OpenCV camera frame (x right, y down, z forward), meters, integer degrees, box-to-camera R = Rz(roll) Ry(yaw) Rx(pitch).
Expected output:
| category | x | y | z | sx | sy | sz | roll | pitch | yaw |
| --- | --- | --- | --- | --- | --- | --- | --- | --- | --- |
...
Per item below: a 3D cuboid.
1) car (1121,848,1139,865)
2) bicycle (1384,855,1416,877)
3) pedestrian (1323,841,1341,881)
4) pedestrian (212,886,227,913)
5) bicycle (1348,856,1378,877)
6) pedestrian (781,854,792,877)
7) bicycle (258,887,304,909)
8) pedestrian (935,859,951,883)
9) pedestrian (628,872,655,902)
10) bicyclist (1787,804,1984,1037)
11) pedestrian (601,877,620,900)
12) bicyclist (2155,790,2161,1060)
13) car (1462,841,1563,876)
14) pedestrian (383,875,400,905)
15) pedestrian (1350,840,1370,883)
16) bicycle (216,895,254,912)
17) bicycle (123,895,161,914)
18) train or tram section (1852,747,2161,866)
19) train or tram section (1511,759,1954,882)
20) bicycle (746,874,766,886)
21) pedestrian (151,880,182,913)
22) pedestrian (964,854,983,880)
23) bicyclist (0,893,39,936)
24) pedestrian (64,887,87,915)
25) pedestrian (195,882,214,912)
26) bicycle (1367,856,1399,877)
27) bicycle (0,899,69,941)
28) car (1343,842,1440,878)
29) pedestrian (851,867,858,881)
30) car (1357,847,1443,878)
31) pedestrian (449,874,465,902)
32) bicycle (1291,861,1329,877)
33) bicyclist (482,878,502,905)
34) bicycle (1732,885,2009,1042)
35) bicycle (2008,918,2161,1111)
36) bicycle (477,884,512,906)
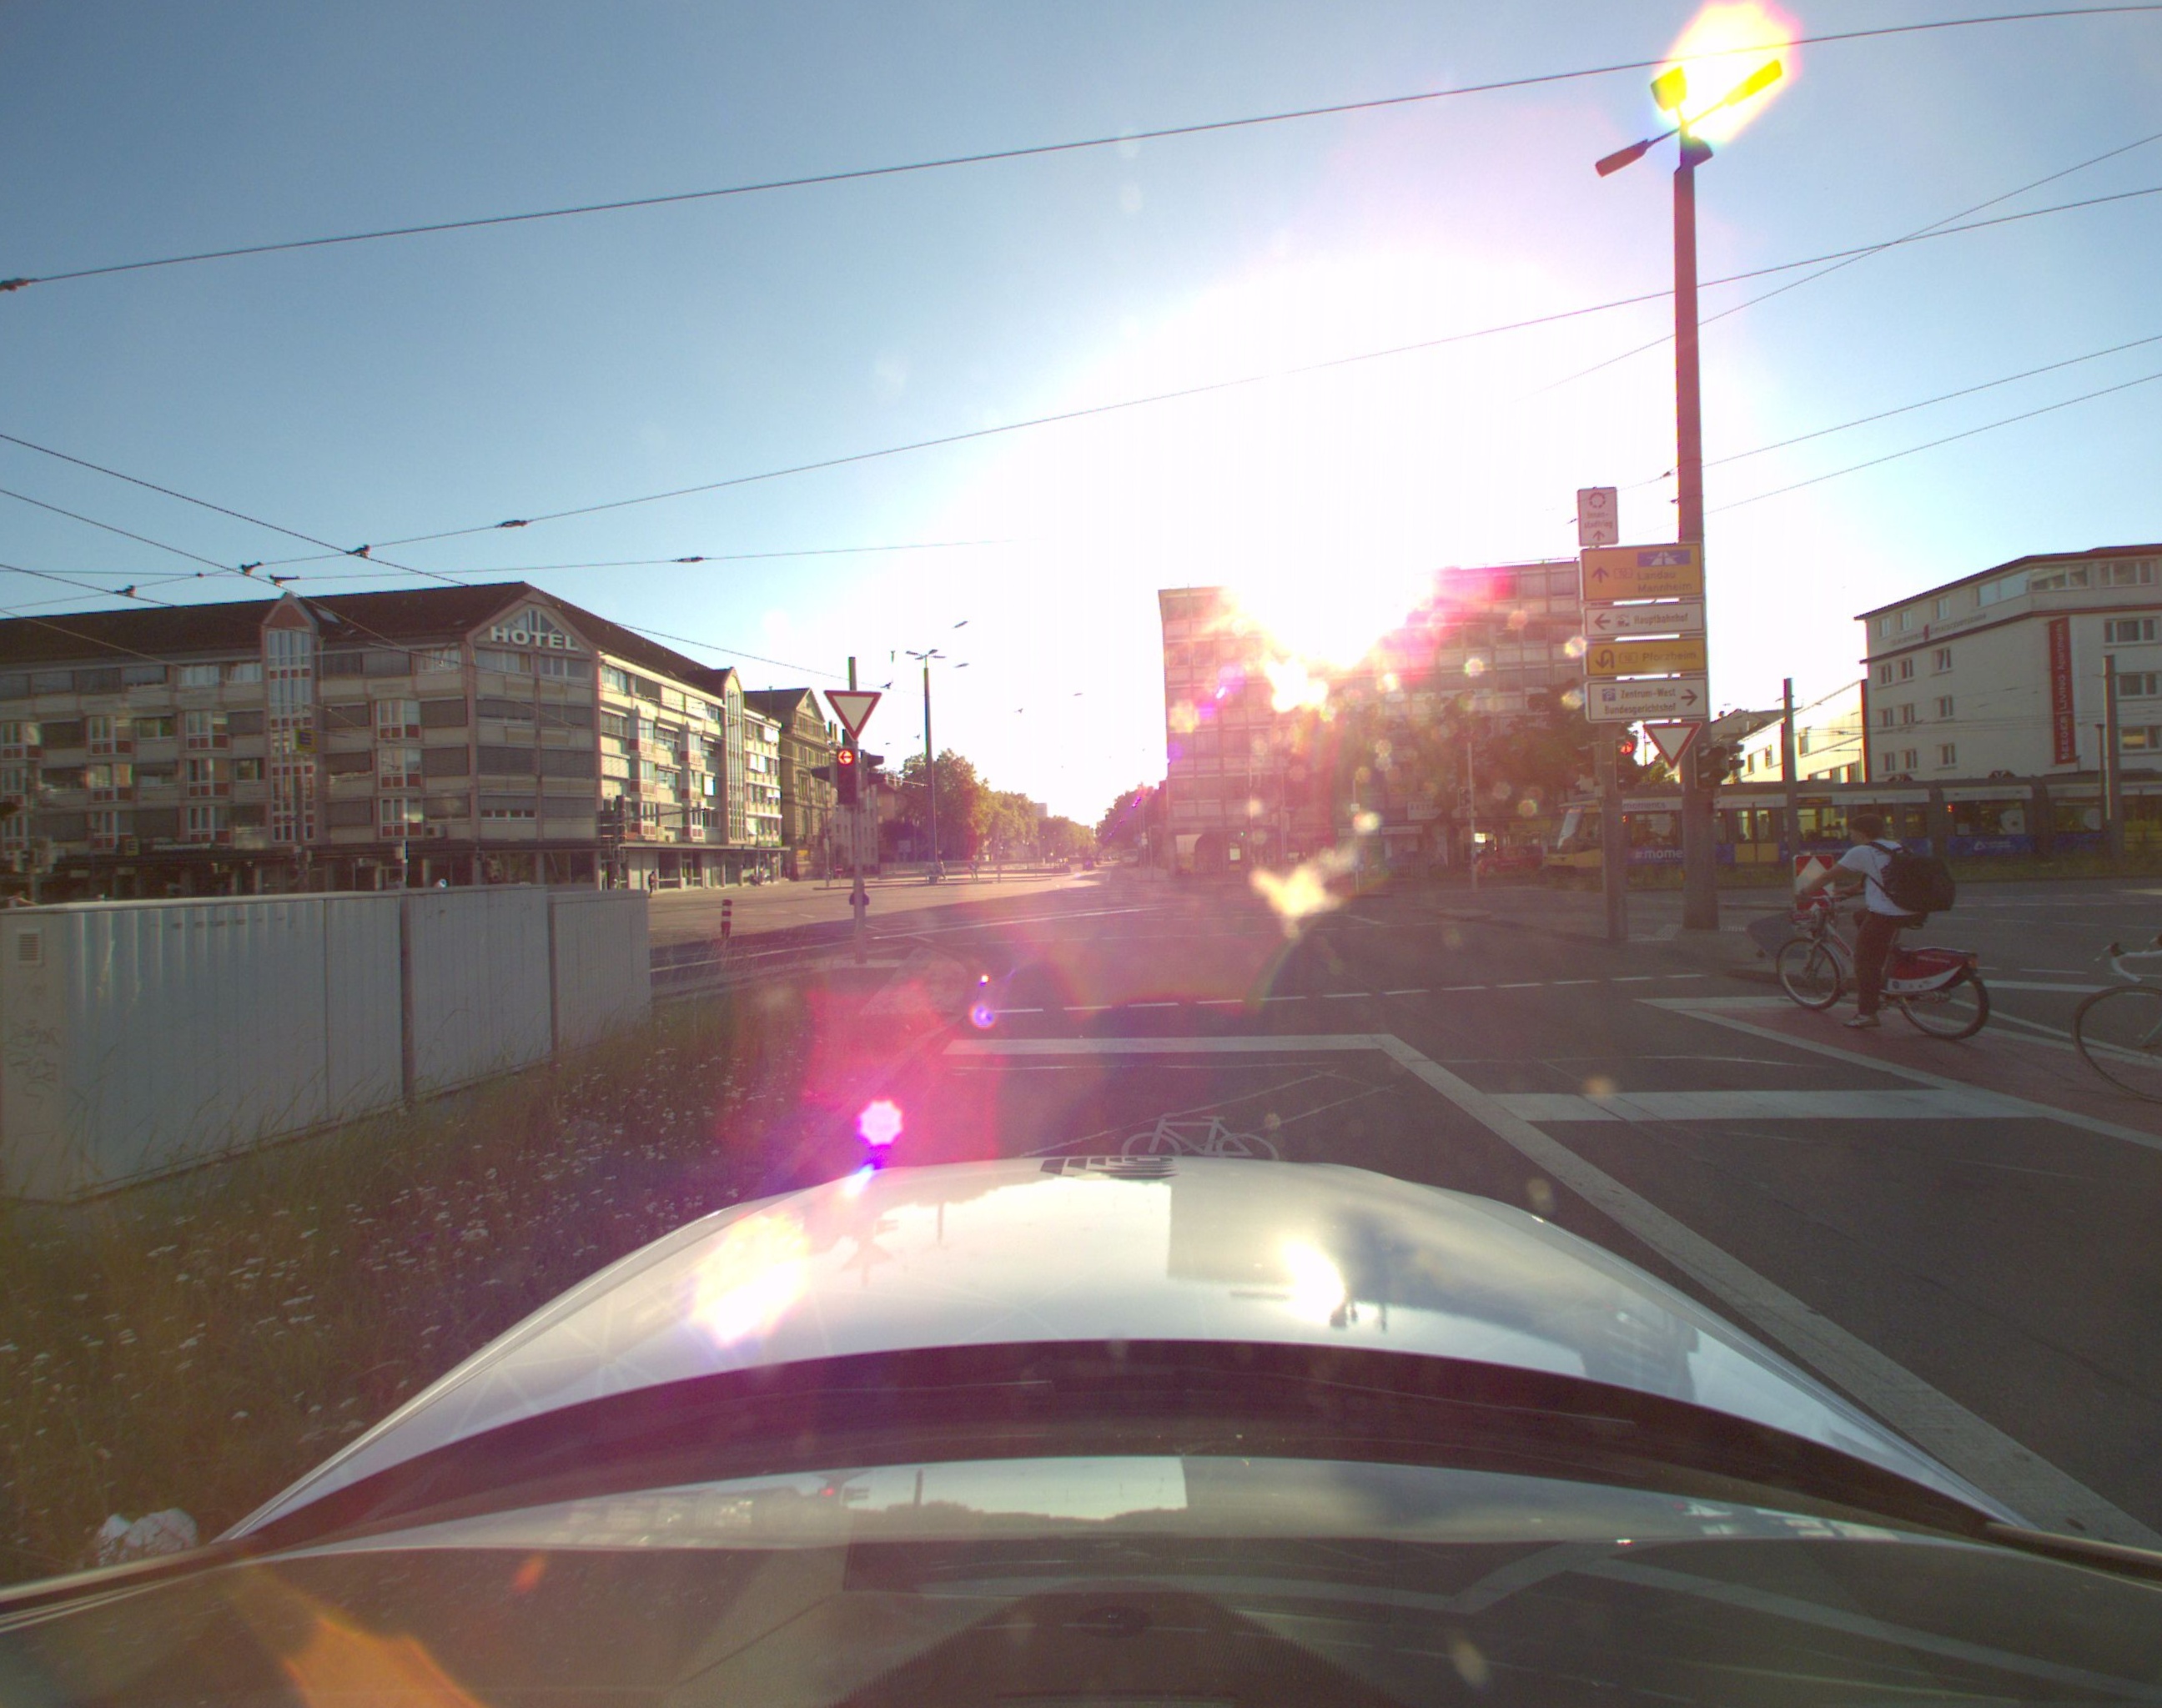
| category | x | y | z | sx | sy | sz | roll | pitch | yaw |
| --- | --- | --- | --- | --- | --- | --- | --- | --- | --- |
| car | 6.306 | 0.314 | 103.964 | 2.275 | 2.172 | 4.838 | 0 | -1 | 4 |
| bicycle | 19.212 | 0.707 | 49.126 | 0.748 | 1.143 | 2.637 | 0 | 2 | -4 |
| pedestrian | 10.833 | 0.311 | 35.138 | 0.690 | 1.682 | 1.046 | -1 | -1 | 14 |
| pedestrian | -54.196 | 2.862 | 51.222 | 0.614 | 1.636 | 0.596 | 0 | -4 | -43 |
| bicycle | 16.985 | 0.714 | 49.077 | 0.748 | 1.143 | 2.637 | 0 | 2 | -4 |
| pedestrian | -31.246 | 1.189 | 86.534 | 0.926 | 2.398 | 0.958 | 0 | -1 | -9 |
| bicycle | -49.467 | 2.713 | 50.340 | 2.312 | 1.227 | 0.731 | -2 | -1 | 7 |
| pedestrian | -8.883 | 1.085 | 52.421 | 0.858 | 1.465 | 0.680 | 0 | -6 | -27 |
| pedestrian | -28.617 | 2.147 | 53.082 | 1.191 | 1.882 | 0.856 | 0 | 7 | -3 |
| bicyclist | 6.584 | 0.508 | 6.729 | 0.540 | 1.768 | 1.059 | 0 | -1 | -3 |
| pedestrian | -29.444 | 2.159 | 51.022 | 0.703 | 1.453 | 0.855 | 0 | -1 | -3 |
| bicyclist | 6.160 | 0.524 | 4.032 | 0.612 | 1.746 | 0.791 | 0 | -1 | -3 |
| car | 20.926 | 0.225 | 39.618 | 3.966 | 1.618 | 1.847 | 0 | -1 | 6 |
| pedestrian | -40.622 | 2.112 | 47.984 | 0.625 | 1.694 | 0.859 | 0 | -1 | -30 |
| pedestrian | 11.713 | 0.318 | 34.238 | 0.690 | 1.793 | 1.046 | -1 | -1 | 15 |
| bicycle | -52.466 | 3.069 | 50.514 | 2.060 | 0.917 | 0.502 | -2 | -1 | 7 |
| bicycle | -60.189 | 3.240 | 52.221 | 0.481 | 1.119 | 1.650 | 0 | -1 | 2 |
| train or tram section | 36.642 | -1.710 | 29.777 | 12.882 | 3.833 | 3.719 | -2 | -1 | 3 |
| train or tram section | 23.673 | -1.155 | 30.292 | 13.265 | 3.833 | 3.717 | -2 | -1 | 2 |
| bicycle | -29.660 | 2.365 | 74.404 | 0.447 | 1.071 | 2.102 | -1 | -1 | 19 |
| pedestrian | -47.065 | 2.197 | 41.924 | 0.680 | 1.660 | 0.780 | 0 | -1 | -4 |
| pedestrian | -7.172 | 0.875 | 54.497 | 1.191 | 1.731 | 0.855 | 0 | -1 | -3 |
| bicyclist | -38.981 | 2.200 | 29.856 | 0.561 | 1.481 | 0.741 | -1 | 1 | 12 |
| pedestrian | -64.736 | 3.026 | 52.444 | 0.671 | 1.778 | 0.825 | -1 | -1 | 32 |
| pedestrian | -56.222 | 2.742 | 52.236 | 0.598 | 1.852 | 0.613 | -1 | -1 | 12 |
| bicycle | 18.178 | 0.714 | 49.095 | 0.748 | 1.143 | 2.637 | 0 | 2 | -4 |
| bicycle | -38.951 | 2.408 | 29.952 | 0.578 | 1.366 | 2.102 | -1 | 1 | 12 |
| car | 14.728 | 0.294 | 38.814 | 3.966 | 1.618 | 1.847 | 0 | -1 | 6 |
| pedestrian | -28.277 | 2.484 | 101.560 | 0.693 | 1.695 | 0.724 | 0 | -1 | 1 |
| car | 17.306 | 0.487 | 44.353 | 4.046 | 1.618 | 1.847 | 0 | -1 | 6 |
| pedestrian | -39.180 | 2.127 | 51.129 | 0.510 | 1.764 | 0.999 | 0 | -1 | -18 |
| bicycle | 13.496 | 0.898 | 48.043 | 2.017 | 0.940 | 0.671 | 0 | -1 | 0 |
| bicyclist | -34.864 | 2.217 | 48.244 | 0.636 | 1.596 | 0.659 | 0 | 2 | 5 |
| bicycle | 6.564 | 0.843 | 6.925 | 0.540 | 1.101 | 1.807 | 0 | -1 | -3 |
| bicycle | 6.183 | 0.903 | 4.324 | 0.540 | 1.001 | 1.692 | 0 | -1 | -3 |
| bicycle | -34.851 | 2.438 | 48.397 | 0.635 | 1.145 | 1.773 | 0 | 2 | 6 |
